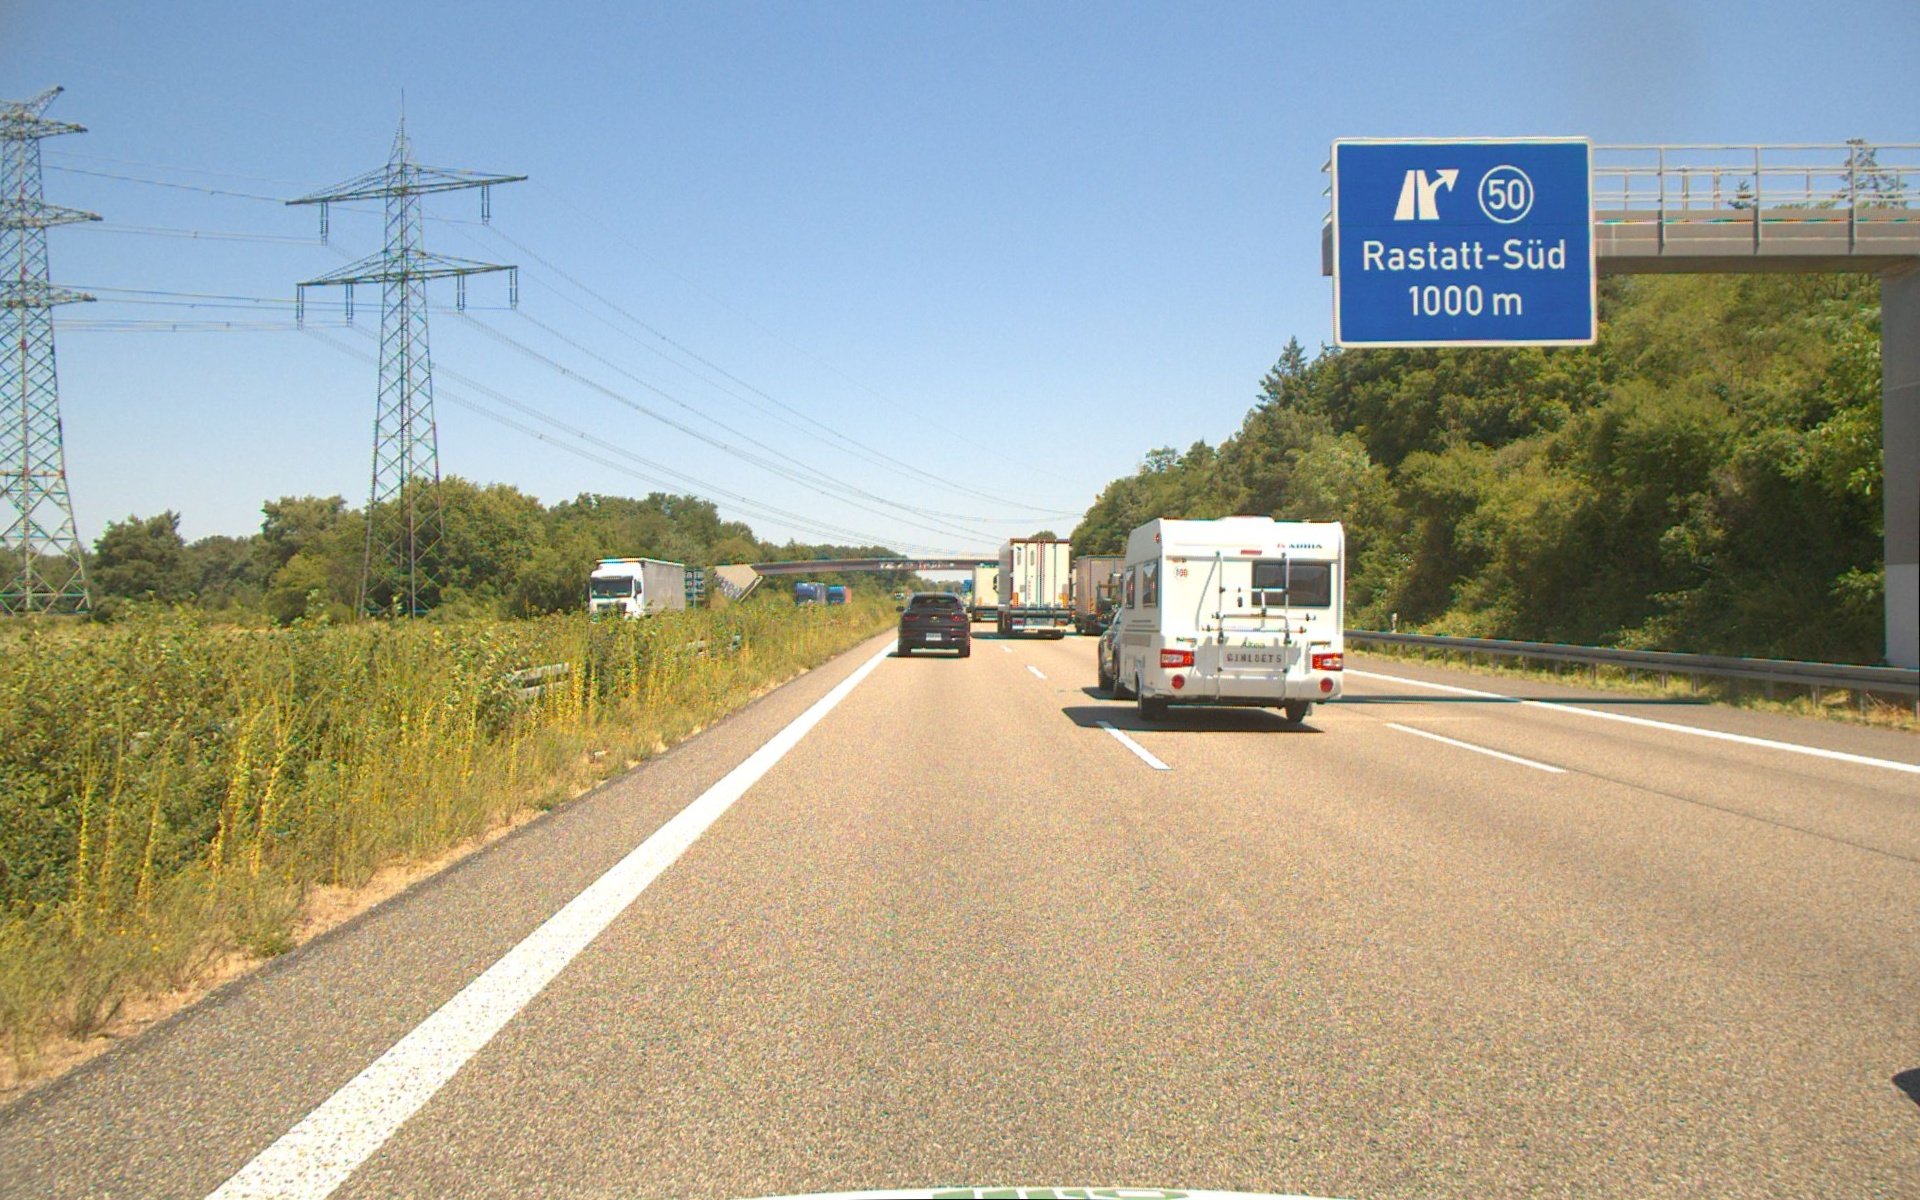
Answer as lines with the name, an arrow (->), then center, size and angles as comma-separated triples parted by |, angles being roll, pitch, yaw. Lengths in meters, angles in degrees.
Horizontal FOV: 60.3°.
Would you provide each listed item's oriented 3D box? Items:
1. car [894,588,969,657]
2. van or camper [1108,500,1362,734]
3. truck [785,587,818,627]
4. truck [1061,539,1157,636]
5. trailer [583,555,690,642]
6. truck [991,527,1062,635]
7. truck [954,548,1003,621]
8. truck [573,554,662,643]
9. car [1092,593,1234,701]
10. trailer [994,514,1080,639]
car -> -0.811, 0.590, 45.519 | 1.953, 1.803, 3.999 | 0, 0, -2
van or camper -> 3.489, 0.185, 22.453 | 2.389, 2.721, 6.349 | 0, 0, 0
truck -> -18.947, 0.798, 198.105 | 3.025, 4.484, 6.800 | -3, 0, -1
truck -> 7.132, -0.548, 81.197 | 3.498, 4.319, 11.650 | 1, 0, 0
trailer -> -18.316, -0.070, 94.823 | 3.300, 4.485, 14.318 | -3, 0, -1
truck -> 3.173, -0.870, 80.671 | 3.024, 4.970, 6.596 | 1, 0, -1
truck -> 1.303, -1.108, 125.430 | 3.440, 5.257, 10.257 | 1, 0, 0
truck -> -18.253, -0.066, 88.580 | 3.299, 4.485, 6.555 | -2, 0, 0
car -> 3.340, 0.729, 27.974 | 1.840, 1.640, 4.702 | 1, 0, 1
trailer -> 3.221, -0.916, 72.892 | 3.024, 4.970, 12.256 | 1, 0, 0
